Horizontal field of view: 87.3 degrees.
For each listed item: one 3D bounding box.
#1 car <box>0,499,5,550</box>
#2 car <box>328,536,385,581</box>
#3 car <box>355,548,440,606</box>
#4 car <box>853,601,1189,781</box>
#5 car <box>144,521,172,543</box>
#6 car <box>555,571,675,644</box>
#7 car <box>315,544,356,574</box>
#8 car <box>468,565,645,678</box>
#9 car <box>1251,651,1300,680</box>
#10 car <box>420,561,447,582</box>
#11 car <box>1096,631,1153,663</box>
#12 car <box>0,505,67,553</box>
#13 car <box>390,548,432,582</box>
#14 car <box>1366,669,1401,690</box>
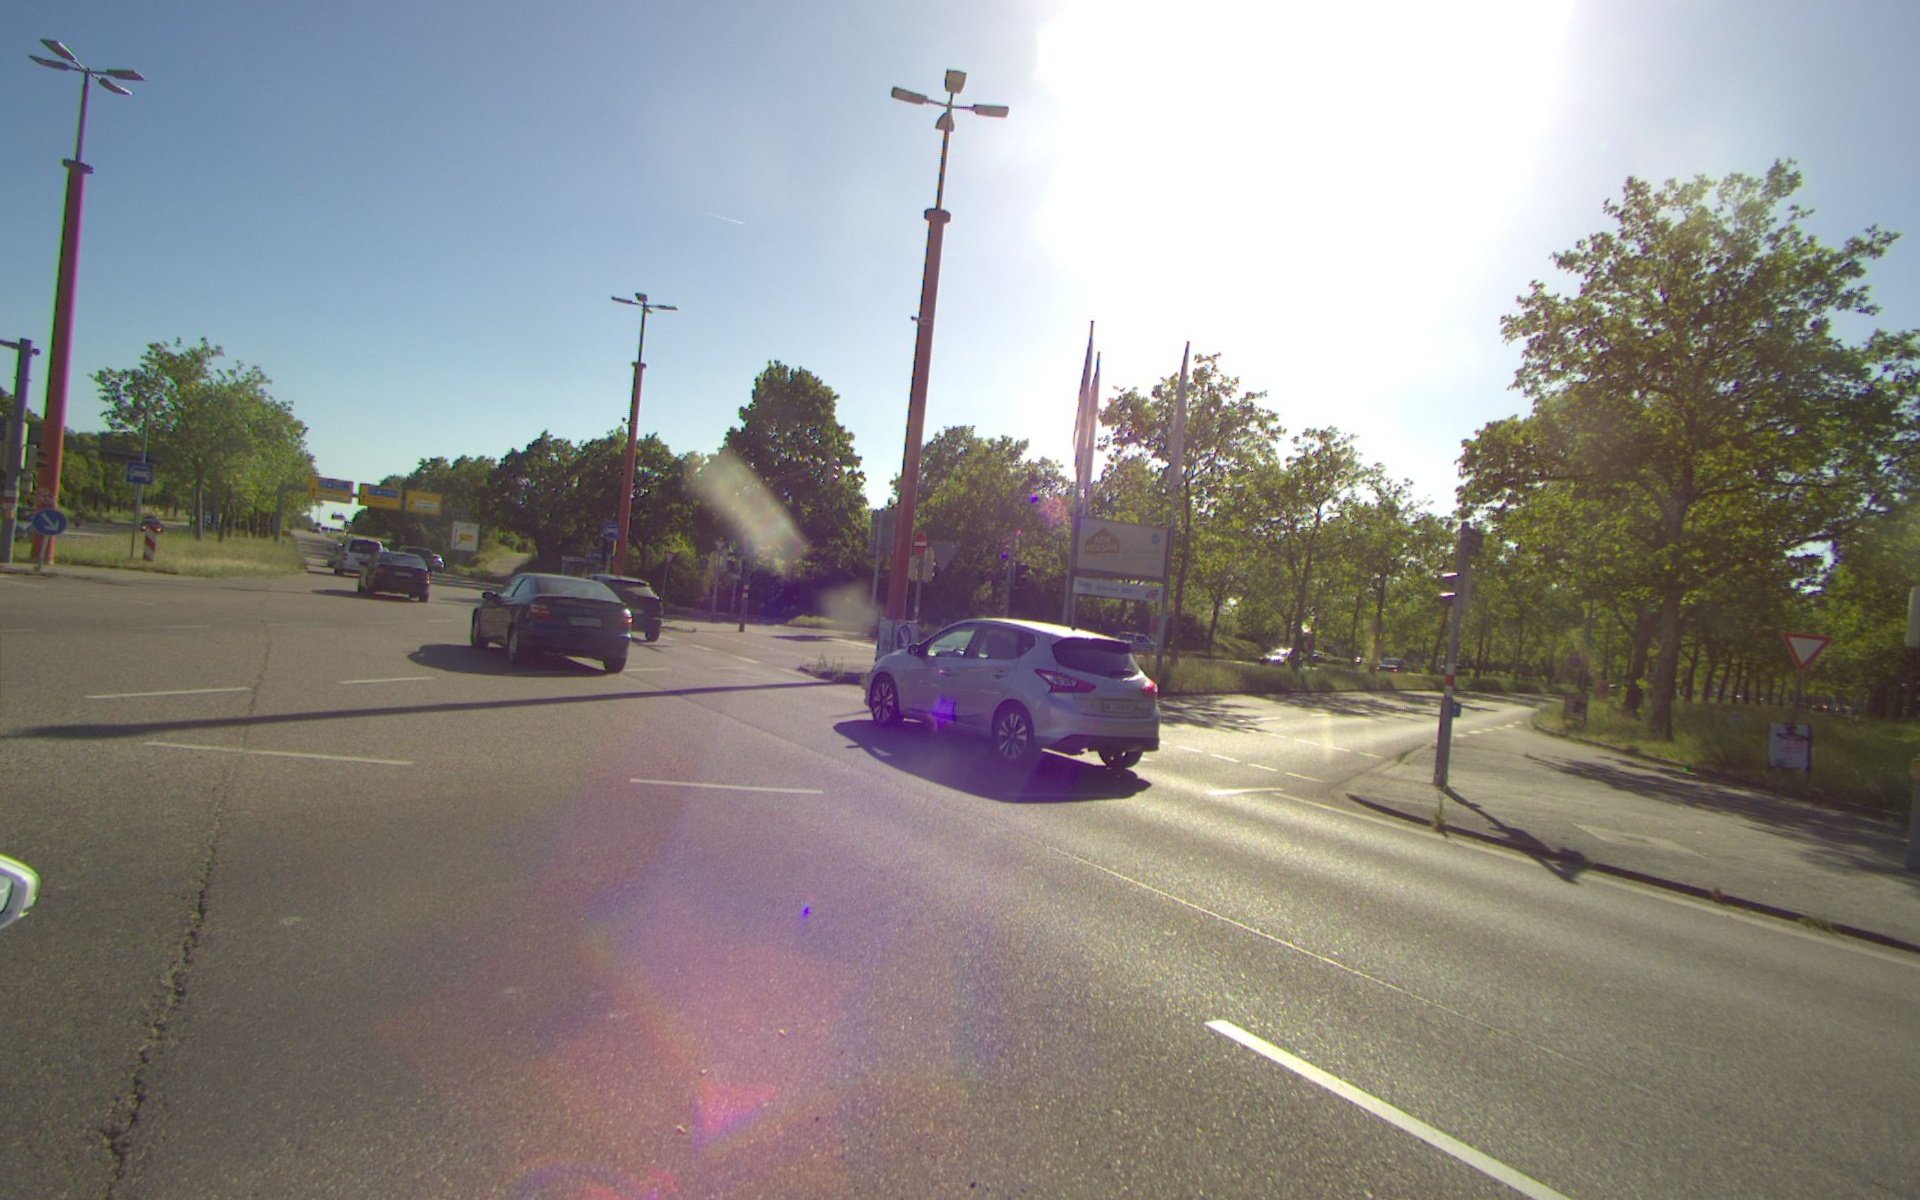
[{"bbox_3d":[-30.830,-2.418,30.731,1.782,1.647,4.103,5,0,-36],"label":"car"},{"bbox_3d":[-28.736,-1.980,47.854,1.794,1.843,4.543,7,-2,-36],"label":"car"},{"bbox_3d":[-17.636,-0.748,31.436,1.703,1.472,4.156,6,0,-37],"label":"car"},{"bbox_3d":[0.529,0.981,12.022,1.712,1.535,4.099,8,-1,-35],"label":"car"},{"bbox_3d":[-77.141,-6.558,96.768,1.907,1.869,3.917,6,0,-40],"label":"car"},{"bbox_3d":[-9.037,0.145,26.140,1.757,1.525,4.188,8,-2,-34],"label":"car"},{"bbox_3d":[-37.434,-2.449,60.253,1.794,1.510,4.641,8,-2,-34],"label":"car"},{"bbox_3d":[-6.670,0.290,16.369,1.708,1.437,4.012,7,-1,-35],"label":"car"},{"bbox_3d":[21.344,4.455,67.961,1.747,1.525,4.213,6,-2,37],"label":"car"},{"bbox_3d":[-46.580,-2.531,88.966,1.585,1.508,3.648,8,-2,-35],"label":"car"},{"bbox_3d":[10.071,2.878,61.297,1.836,1.535,4.130,6,-2,33],"label":"car"},{"bbox_3d":[-34.589,-2.641,37.150,1.873,1.563,3.962,5,0,-35],"label":"car"},{"bbox_3d":[-35.230,-2.283,64.493,1.793,1.875,5.057,6,0,-34],"label":"car"},{"bbox_3d":[37.780,7.108,89.703,1.747,1.525,4.212,6,-2,38],"label":"car"}]
